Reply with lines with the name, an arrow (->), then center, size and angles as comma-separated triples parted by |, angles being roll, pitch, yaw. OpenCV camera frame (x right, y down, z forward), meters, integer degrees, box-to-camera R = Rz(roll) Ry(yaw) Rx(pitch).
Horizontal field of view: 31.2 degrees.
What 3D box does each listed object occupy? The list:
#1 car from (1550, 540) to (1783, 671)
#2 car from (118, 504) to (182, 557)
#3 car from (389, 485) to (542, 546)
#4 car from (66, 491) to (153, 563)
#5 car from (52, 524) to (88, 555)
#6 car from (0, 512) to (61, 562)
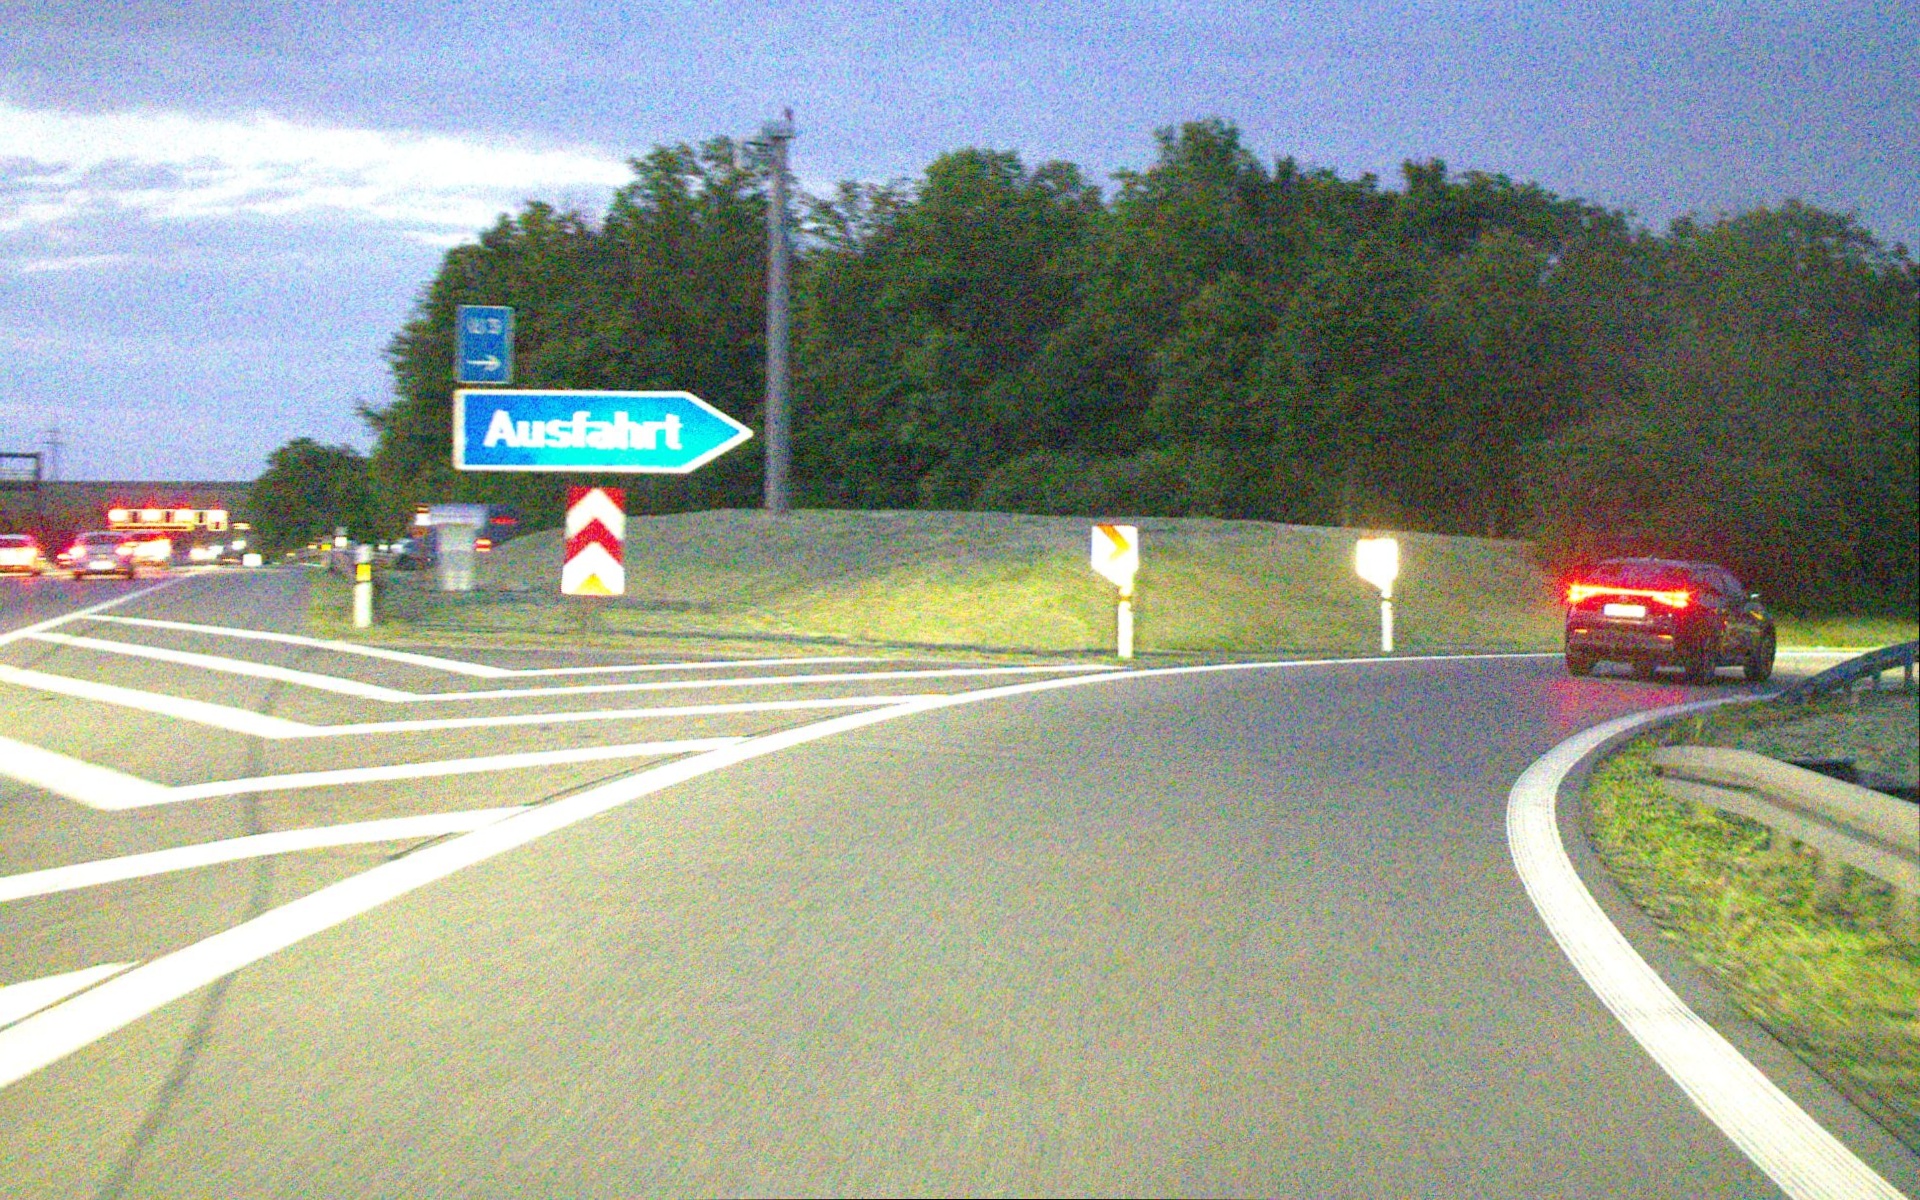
car -> 9.477, 0.095, 45.873 | 1.996, 1.654, 4.308 | 0, -1, 27
car -> -32.025, -2.760, 136.023 | 1.993, 2.006, 4.001 | -1, 2, -7
car -> -17.489, -2.999, 121.573 | 5.139, 2.007, 2.264 | 3, 2, 34
car -> -24.424, -2.111, 98.857 | 1.993, 2.006, 4.001 | 0, 2, -8
car -> -59.943, -4.068, 231.484 | 2.104, 2.006, 4.001 | -2, 2, -17
car -> -32.089, -2.157, 117.081 | 1.993, 1.637, 4.556 | -1, 2, -4
